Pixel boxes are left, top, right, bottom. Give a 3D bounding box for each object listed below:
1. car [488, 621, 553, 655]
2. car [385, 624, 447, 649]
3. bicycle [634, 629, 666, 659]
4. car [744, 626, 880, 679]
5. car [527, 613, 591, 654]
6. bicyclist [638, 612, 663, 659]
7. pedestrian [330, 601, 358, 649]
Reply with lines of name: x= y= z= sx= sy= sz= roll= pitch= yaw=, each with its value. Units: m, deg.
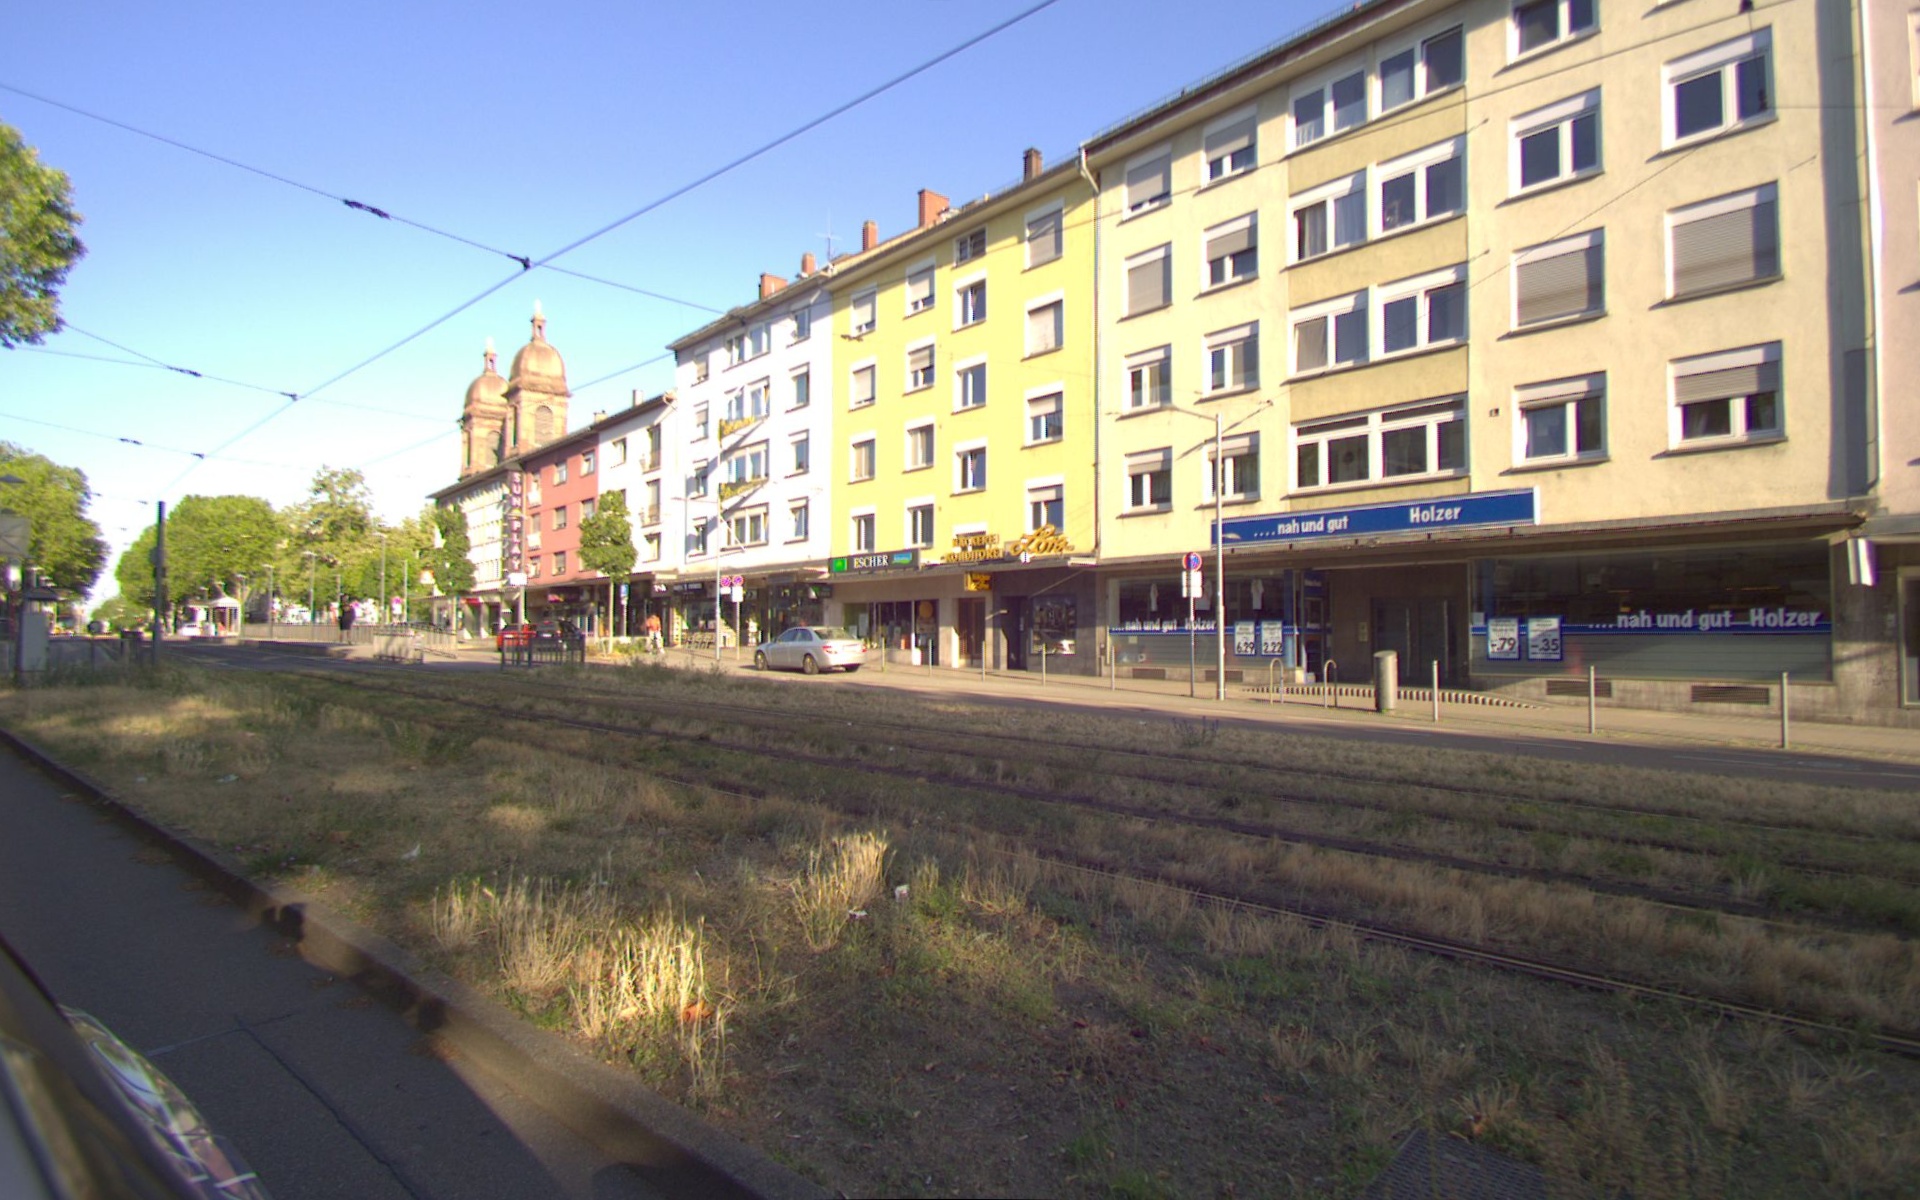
car: x=-22.262 y=1.900 z=51.447 sx=1.836 sy=1.502 sz=3.773 roll=-1 pitch=0 yaw=-4
car: x=-35.962 y=2.401 z=67.040 sx=1.845 sy=1.541 sz=3.996 roll=-1 pitch=0 yaw=3
bicycle: x=-13.344 y=1.866 z=43.498 sx=0.696 sy=1.167 sz=2.204 roll=-2 pitch=2 yaw=-33
car: x=-4.683 y=1.580 z=31.606 sx=1.971 sy=1.489 sz=4.413 roll=-1 pitch=0 yaw=-45
car: x=-19.668 y=1.622 z=49.746 sx=1.836 sy=1.813 sz=3.773 roll=-1 pitch=0 yaw=-4
bicyclist: x=-13.245 y=1.501 z=43.282 sx=0.683 sy=1.900 sz=1.061 roll=-2 pitch=2 yaw=-33
pedestrian: x=-23.941 y=0.969 z=39.334 sx=0.590 sy=1.863 sz=0.733 roll=-2 pitch=-3 yaw=43
